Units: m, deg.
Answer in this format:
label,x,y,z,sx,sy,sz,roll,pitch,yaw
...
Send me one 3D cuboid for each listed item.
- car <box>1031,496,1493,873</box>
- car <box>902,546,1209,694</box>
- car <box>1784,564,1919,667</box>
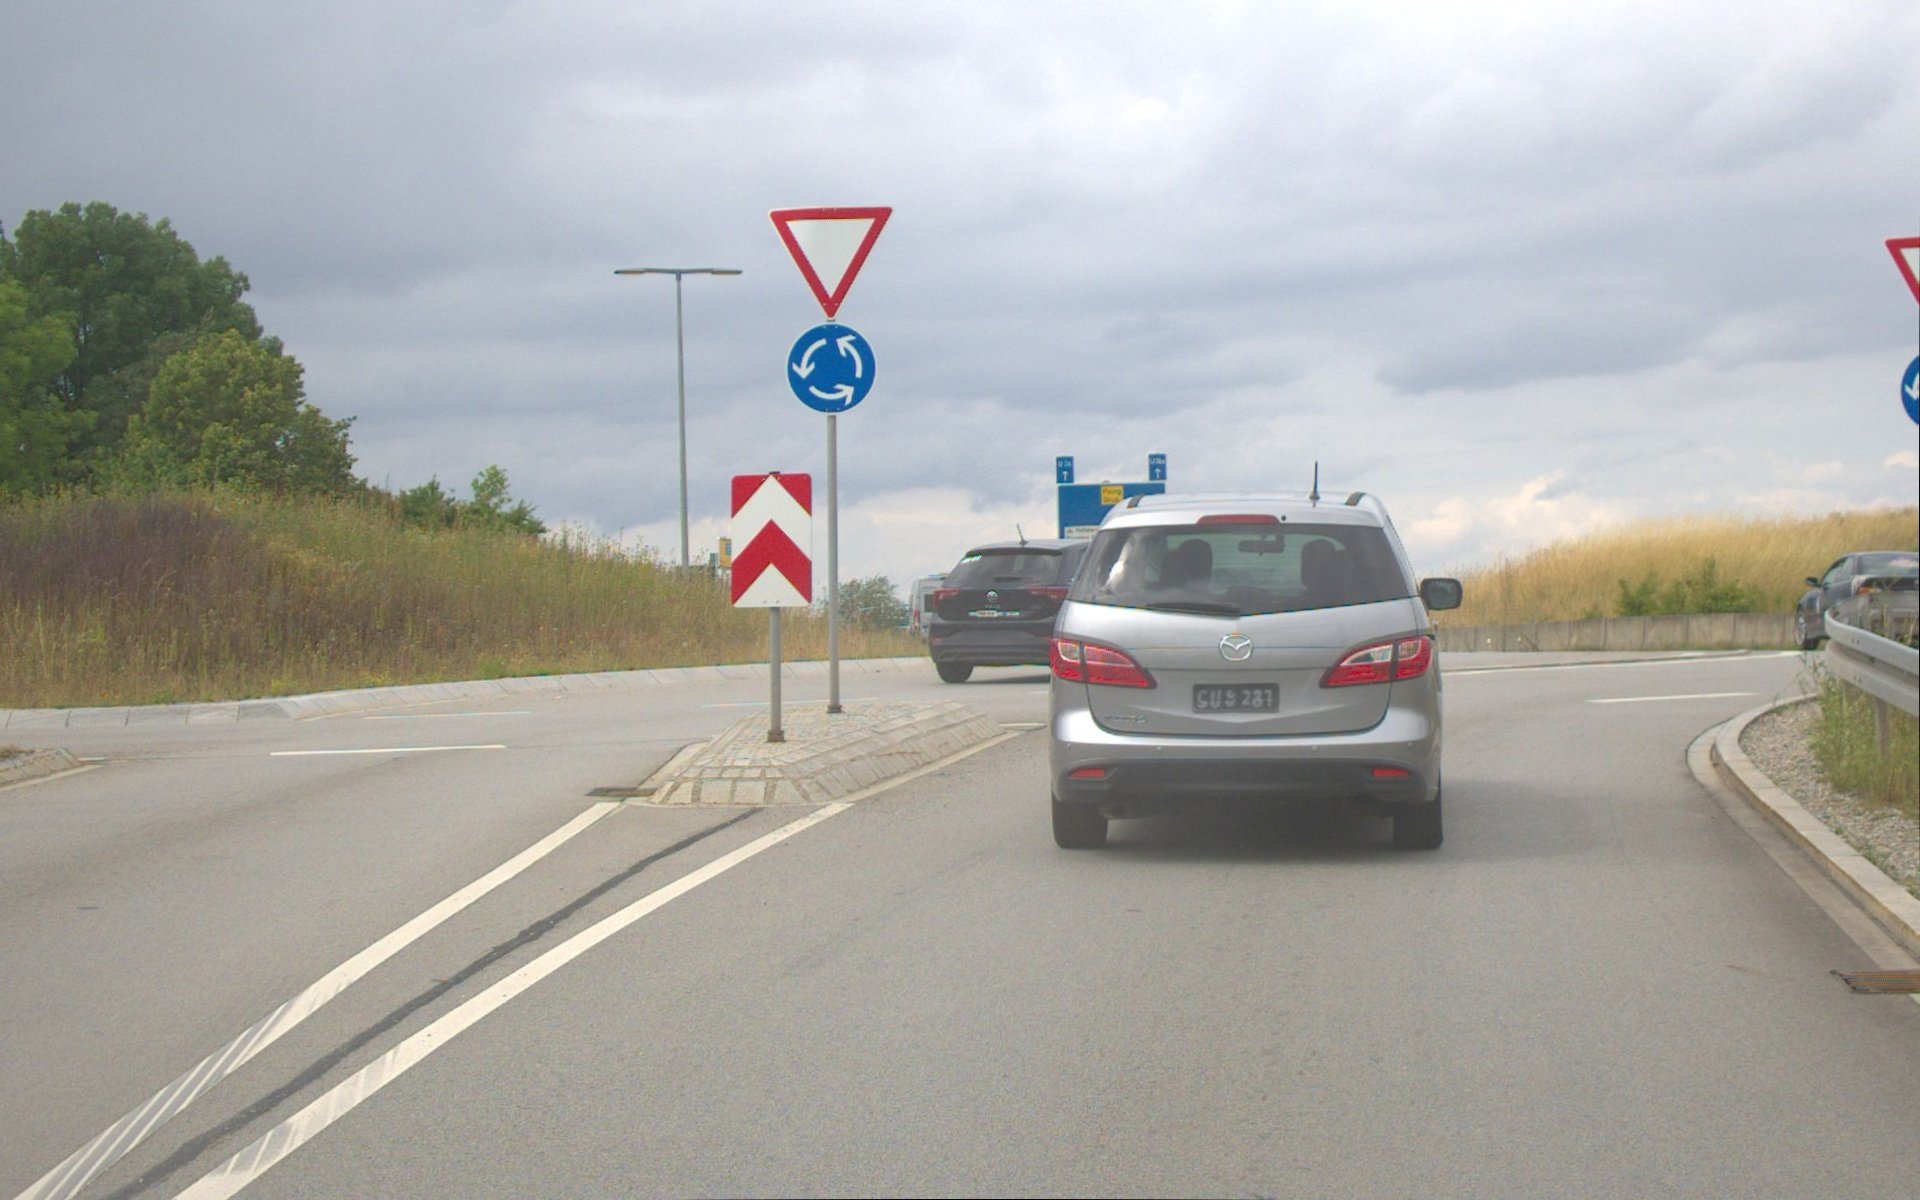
label,x,y,z,sx,sy,sz,roll,pitch,yaw
car,1.517,0.314,16.427,1.912,1.568,3.999,-1,1,7
car,1.051,0.176,35.405,1.664,1.373,3.995,-2,0,25
car,12.399,0.181,46.536,1.598,1.284,4.045,-2,0,2
